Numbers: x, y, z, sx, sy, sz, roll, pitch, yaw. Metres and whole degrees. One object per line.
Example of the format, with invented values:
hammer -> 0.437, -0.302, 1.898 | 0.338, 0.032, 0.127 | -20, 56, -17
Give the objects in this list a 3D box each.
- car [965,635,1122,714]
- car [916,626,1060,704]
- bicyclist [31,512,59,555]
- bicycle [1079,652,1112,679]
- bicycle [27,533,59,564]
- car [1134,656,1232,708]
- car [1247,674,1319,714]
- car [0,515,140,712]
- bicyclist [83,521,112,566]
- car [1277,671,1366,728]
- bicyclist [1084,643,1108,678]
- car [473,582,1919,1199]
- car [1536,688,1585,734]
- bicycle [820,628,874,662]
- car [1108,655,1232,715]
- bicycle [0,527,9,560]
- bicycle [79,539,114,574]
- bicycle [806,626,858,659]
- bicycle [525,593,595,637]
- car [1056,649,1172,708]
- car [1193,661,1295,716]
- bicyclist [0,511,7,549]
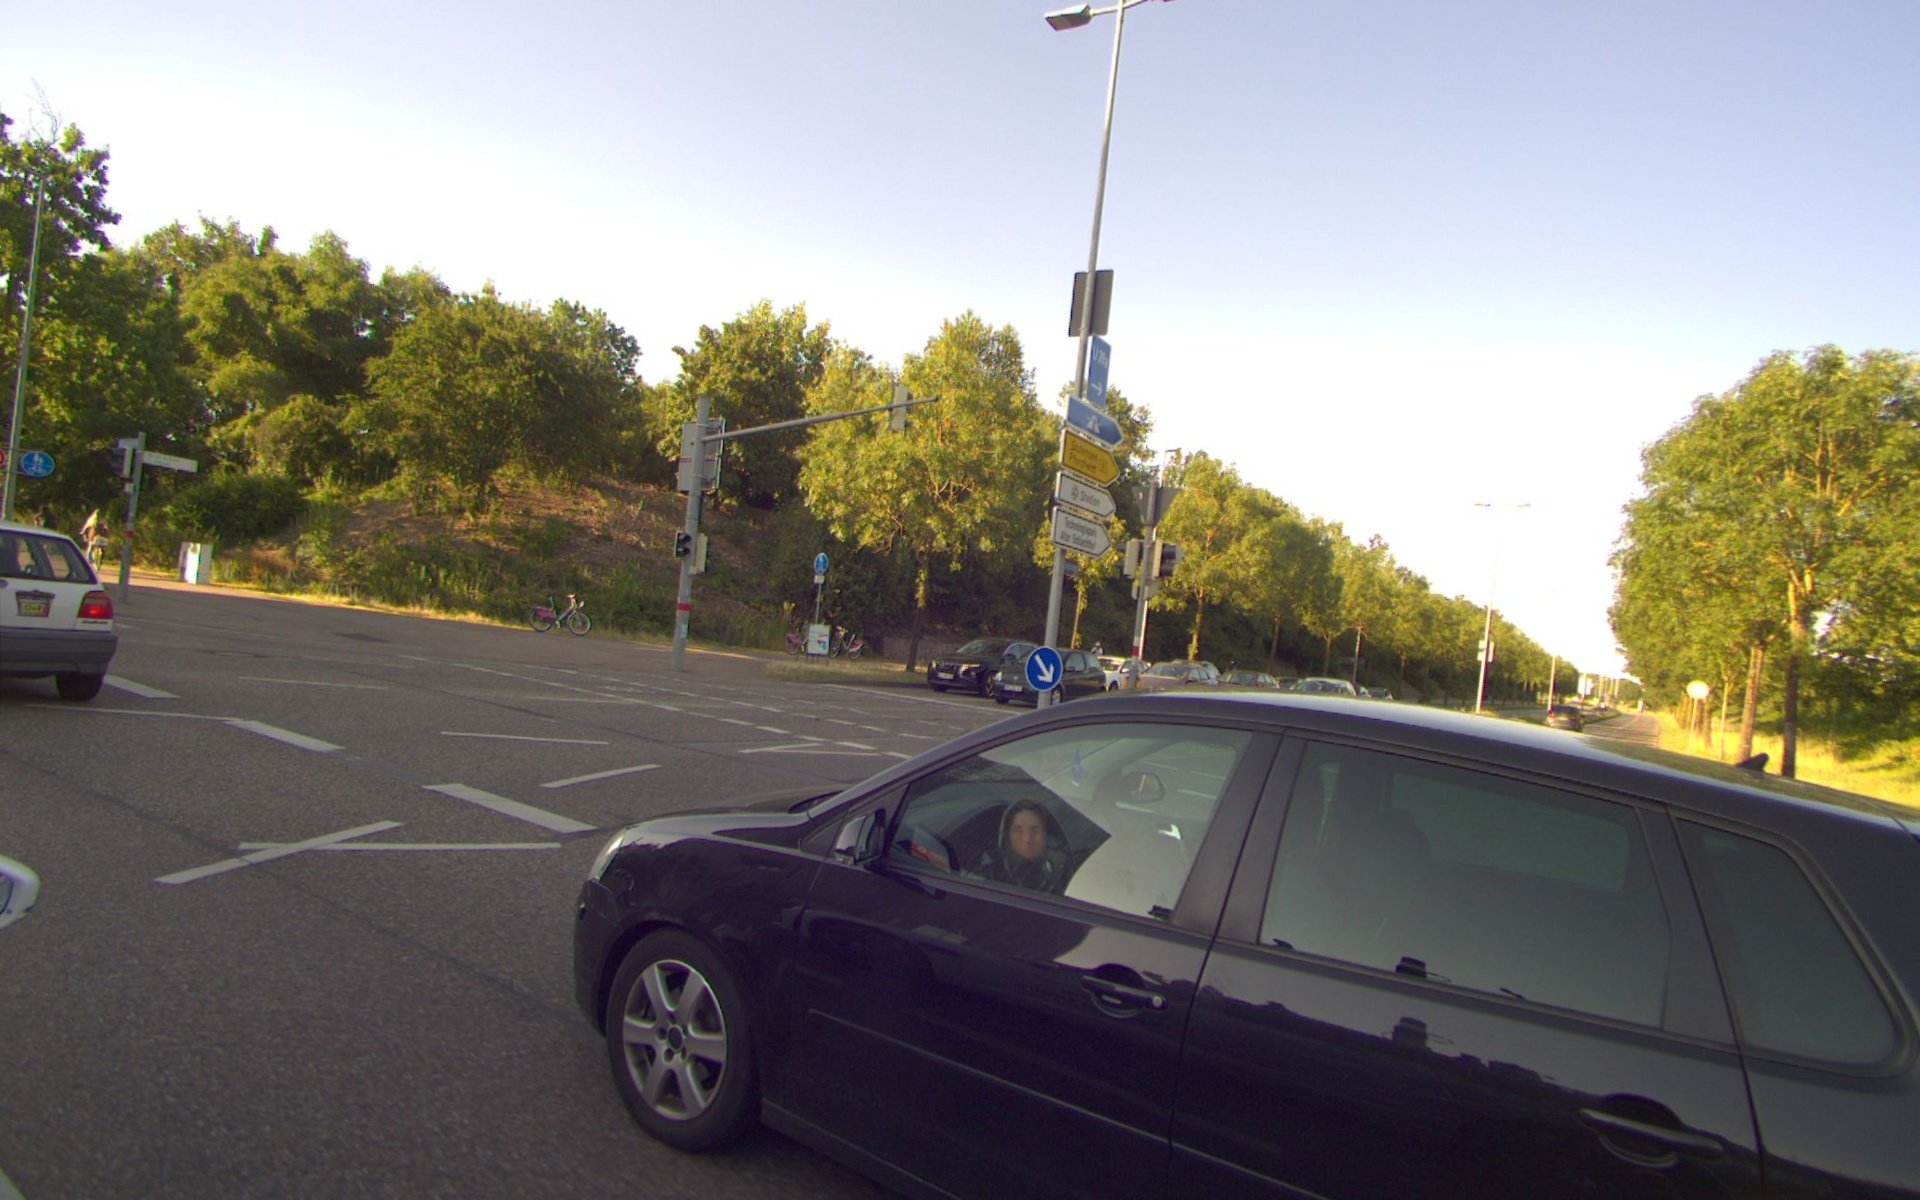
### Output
car -> 2.160, 1.906, 25.187 | 1.971, 1.547, 3.989 | 4, -4, 38
car -> 0.845, 1.823, 27.770 | 1.835, 1.712, 3.989 | 4, -4, 38
bicyclist -> -29.782, -2.151, 32.752 | 0.452, 1.323, 0.428 | 5, -3, 32
bicycle -> 6.823, 3.298, 50.404 | 0.808, 1.124, 2.018 | 5, -4, 31
bicycle -> -29.847, -1.683, 32.740 | 1.010, 0.924, 0.438 | 5, -3, 32
car -> 8.791, 3.233, 39.458 | 2.011, 1.585, 4.331 | 4, -4, 38
car -> 16.212, 4.713, 50.331 | 2.011, 1.585, 4.331 | 4, -4, 38
car -> -8.762, -0.043, 8.407 | 3.995, 1.429, 1.582 | 5, -3, 31
bicyclist -> -25.026, -1.634, 29.197 | 0.452, 1.248, 0.428 | 5, -1, 32
car -> 12.096, 3.347, 33.504 | 1.860, 1.547, 3.995 | 5, -4, 33
bicyclist -> 6.831, 3.047, 50.400 | 0.780, 1.612, 0.859 | 5, -3, 31
car -> 0.621, 0.874, 2.712 | 3.621, 1.425, 1.621 | 5, -3, 30
car -> 32.609, 6.043, 54.586 | 1.968, 2.202, 3.994 | 5, -4, 33
bicycle -> -4.035, 1.630, 35.998 | 1.788, 0.991, 0.631 | 10, -2, -44
car -> 6.593, 2.664, 31.215 | 2.011, 1.423, 4.331 | 4, -4, 38
bicycle -> -34.844, -2.089, 36.092 | 1.595, 1.125, 0.566 | 5, -3, 32
bicycle -> -25.049, -1.274, 29.171 | 1.010, 0.926, 0.438 | 5, 0, 32
bicycle -> -4.665, 1.565, 36.852 | 1.788, 0.991, 0.631 | 10, -4, -44
bicycle -> -11.141, 0.426, 28.045 | 1.656, 1.004, 0.571 | 7, 1, -42
car -> 5.394, 2.753, 34.807 | 2.011, 1.585, 4.331 | 4, -4, 38
car -> 10.382, 3.247, 36.616 | 2.011, 1.585, 4.331 | 4, -4, 38
bicyclist -> -34.769, -2.545, 36.079 | 0.822, 1.331, 0.545 | 5, -3, 32
